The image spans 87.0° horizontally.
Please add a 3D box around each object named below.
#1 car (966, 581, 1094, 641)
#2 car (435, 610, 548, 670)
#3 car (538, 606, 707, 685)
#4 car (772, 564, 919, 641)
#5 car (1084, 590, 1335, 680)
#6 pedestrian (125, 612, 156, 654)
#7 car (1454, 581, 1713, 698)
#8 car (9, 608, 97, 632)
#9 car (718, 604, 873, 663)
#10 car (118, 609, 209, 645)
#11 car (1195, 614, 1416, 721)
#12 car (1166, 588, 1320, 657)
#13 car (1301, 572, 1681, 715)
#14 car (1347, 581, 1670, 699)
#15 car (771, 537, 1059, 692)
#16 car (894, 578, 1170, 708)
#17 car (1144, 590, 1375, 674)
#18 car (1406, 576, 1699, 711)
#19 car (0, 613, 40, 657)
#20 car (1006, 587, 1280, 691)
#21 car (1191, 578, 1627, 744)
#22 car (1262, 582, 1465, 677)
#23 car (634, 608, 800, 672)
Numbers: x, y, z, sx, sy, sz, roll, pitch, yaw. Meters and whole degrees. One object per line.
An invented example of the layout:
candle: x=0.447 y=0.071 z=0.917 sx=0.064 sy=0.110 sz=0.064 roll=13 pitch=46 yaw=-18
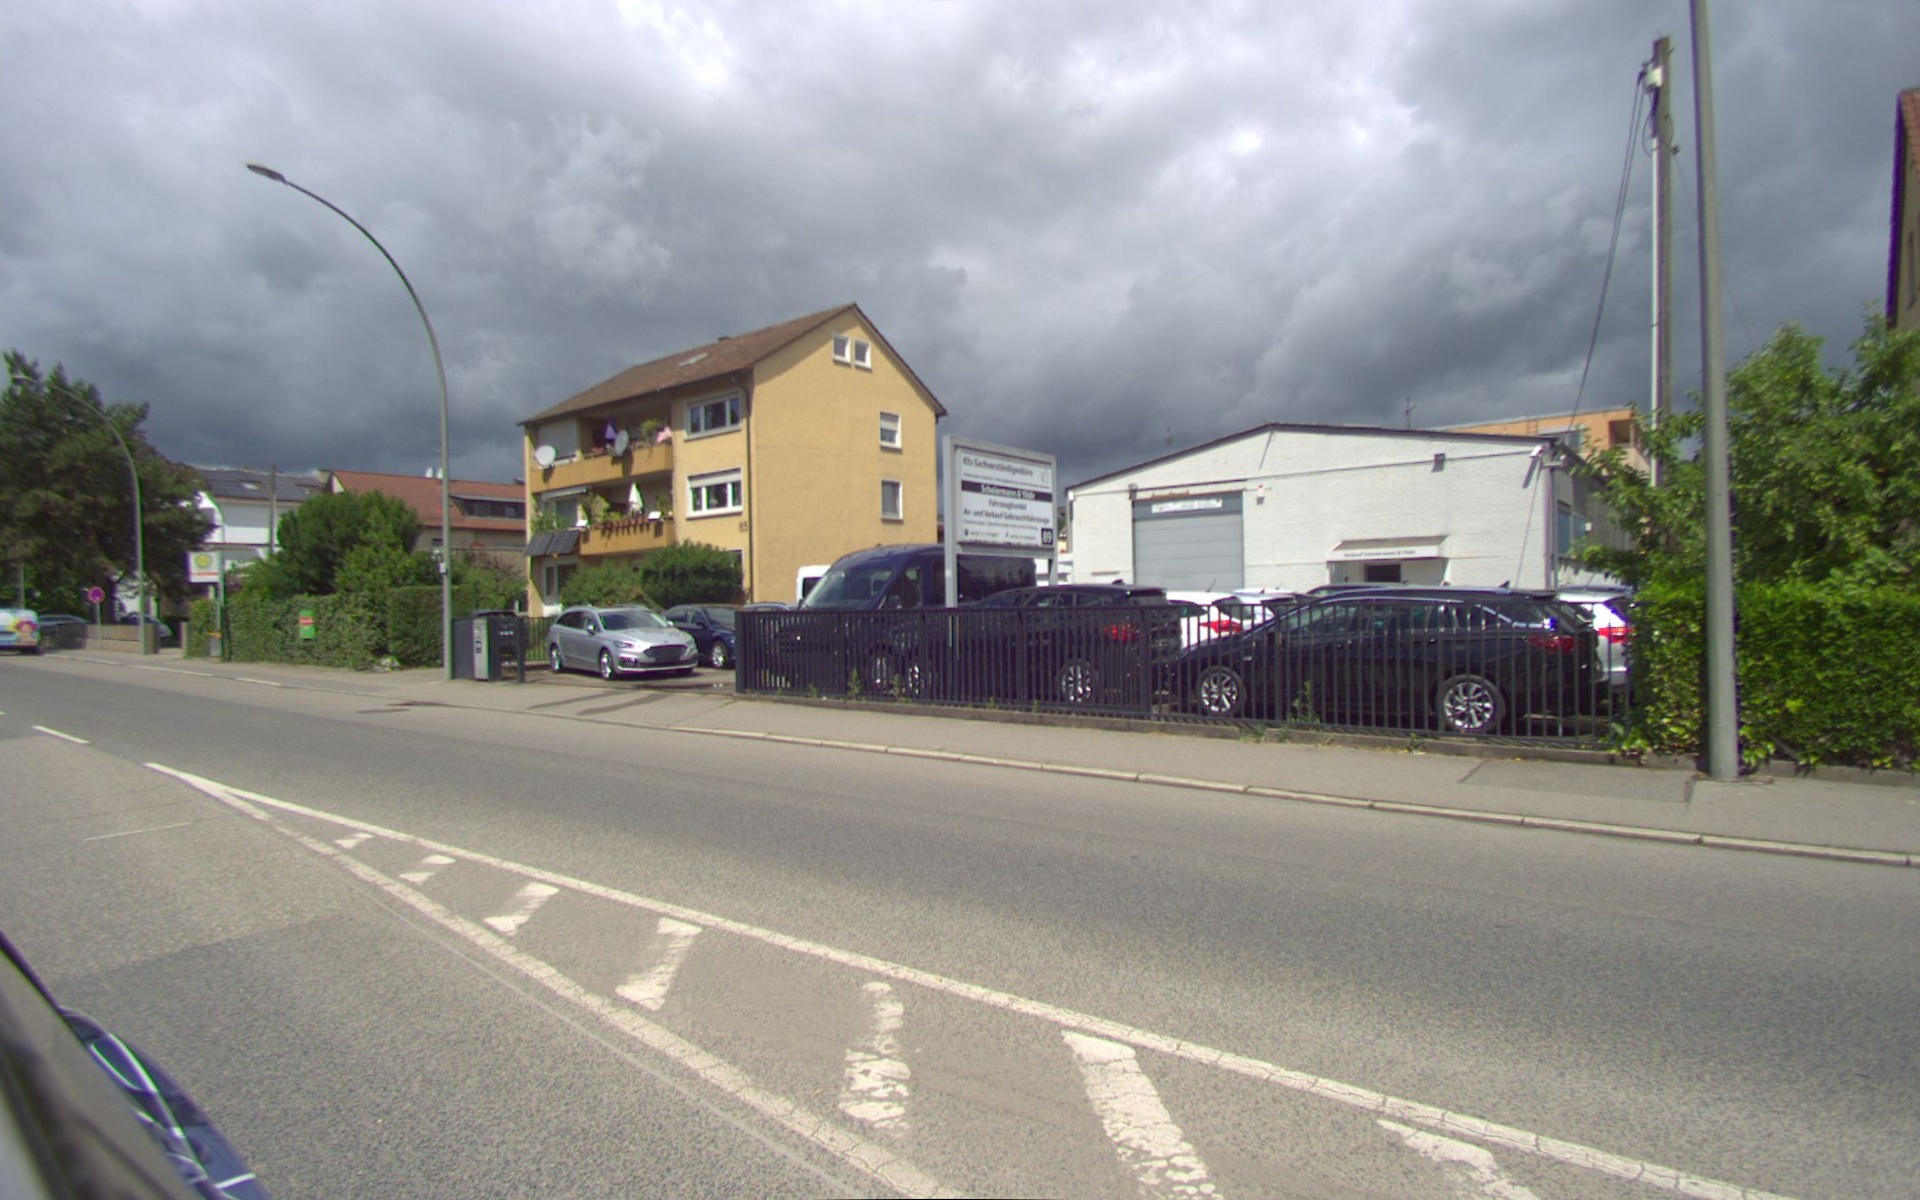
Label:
car: x=2.369 y=0.372 z=34.624 sx=3.998 sy=1.941 sz=1.973 roll=-1 pitch=0 yaw=41
car: x=-14.079 y=1.151 z=30.377 sx=3.520 sy=1.678 sz=1.807 roll=-1 pitch=0 yaw=41
car: x=-7.278 y=0.888 z=21.570 sx=1.861 sy=1.470 sz=4.356 roll=-2 pitch=1 yaw=-41
car: x=-3.296 y=0.068 z=28.720 sx=3.998 sy=2.029 sz=1.973 roll=-1 pitch=0 yaw=41
car: x=4.351 y=0.573 z=17.989 sx=3.998 sy=1.423 sz=1.716 roll=-1 pitch=0 yaw=41
pedestrian: x=-45.332 y=1.811 z=56.009 sx=1.071 sy=2.256 sz=0.784 roll=-1 pitch=0 yaw=0
car: x=11.965 y=0.692 z=19.537 sx=3.998 sy=2.029 sz=1.973 roll=-1 pitch=0 yaw=41
car: x=-68.433 y=1.514 z=76.415 sx=2.216 sy=1.691 sz=4.676 roll=-1 pitch=0 yaw=39
car: x=-4.321 y=0.822 z=26.289 sx=3.998 sy=1.383 sz=1.859 roll=-1 pitch=0 yaw=41
car: x=-46.366 y=1.562 z=58.939 sx=3.954 sy=2.029 sz=1.995 roll=-1 pitch=0 yaw=9
car: x=7.295 y=1.324 z=21.560 sx=3.998 sy=2.029 sz=1.973 roll=-1 pitch=0 yaw=41
car: x=8.455 y=0.648 z=30.423 sx=3.998 sy=1.941 sz=1.973 roll=-1 pitch=0 yaw=41
car: x=6.742 y=0.478 z=13.059 sx=3.998 sy=1.552 sz=1.973 roll=-1 pitch=0 yaw=41
car: x=8.283 y=0.537 z=15.444 sx=3.998 sy=1.560 sz=1.973 roll=-1 pitch=0 yaw=41
car: x=-0.642 y=0.212 z=18.355 sx=2.104 sy=2.402 sz=5.293 roll=-1 pitch=0 yaw=42
car: x=0.966 y=0.548 z=14.565 sx=3.619 sy=1.633 sz=1.790 roll=-1 pitch=0 yaw=41
car: x=5.826 y=0.578 z=19.925 sx=3.998 sy=1.498 sz=1.742 roll=-1 pitch=0 yaw=41
car: x=10.009 y=0.661 z=17.236 sx=3.998 sy=2.029 sz=1.973 roll=-1 pitch=0 yaw=41
car: x=-39.283 y=1.419 z=41.485 sx=3.995 sy=1.693 sz=1.708 roll=-1 pitch=0 yaw=39
car: x=2.868 y=0.569 z=16.314 sx=3.998 sy=1.470 sz=1.795 roll=-1 pitch=0 yaw=41
car: x=4.807 y=0.564 z=11.124 sx=4.040 sy=1.494 sz=1.840 roll=-1 pitch=0 yaw=40
car: x=9.384 y=0.631 z=23.698 sx=3.998 sy=2.029 sz=1.973 roll=-1 pitch=0 yaw=41
car: x=-5.789 y=0.884 z=23.891 sx=3.998 sy=1.352 sz=1.861 roll=-1 pitch=0 yaw=41
